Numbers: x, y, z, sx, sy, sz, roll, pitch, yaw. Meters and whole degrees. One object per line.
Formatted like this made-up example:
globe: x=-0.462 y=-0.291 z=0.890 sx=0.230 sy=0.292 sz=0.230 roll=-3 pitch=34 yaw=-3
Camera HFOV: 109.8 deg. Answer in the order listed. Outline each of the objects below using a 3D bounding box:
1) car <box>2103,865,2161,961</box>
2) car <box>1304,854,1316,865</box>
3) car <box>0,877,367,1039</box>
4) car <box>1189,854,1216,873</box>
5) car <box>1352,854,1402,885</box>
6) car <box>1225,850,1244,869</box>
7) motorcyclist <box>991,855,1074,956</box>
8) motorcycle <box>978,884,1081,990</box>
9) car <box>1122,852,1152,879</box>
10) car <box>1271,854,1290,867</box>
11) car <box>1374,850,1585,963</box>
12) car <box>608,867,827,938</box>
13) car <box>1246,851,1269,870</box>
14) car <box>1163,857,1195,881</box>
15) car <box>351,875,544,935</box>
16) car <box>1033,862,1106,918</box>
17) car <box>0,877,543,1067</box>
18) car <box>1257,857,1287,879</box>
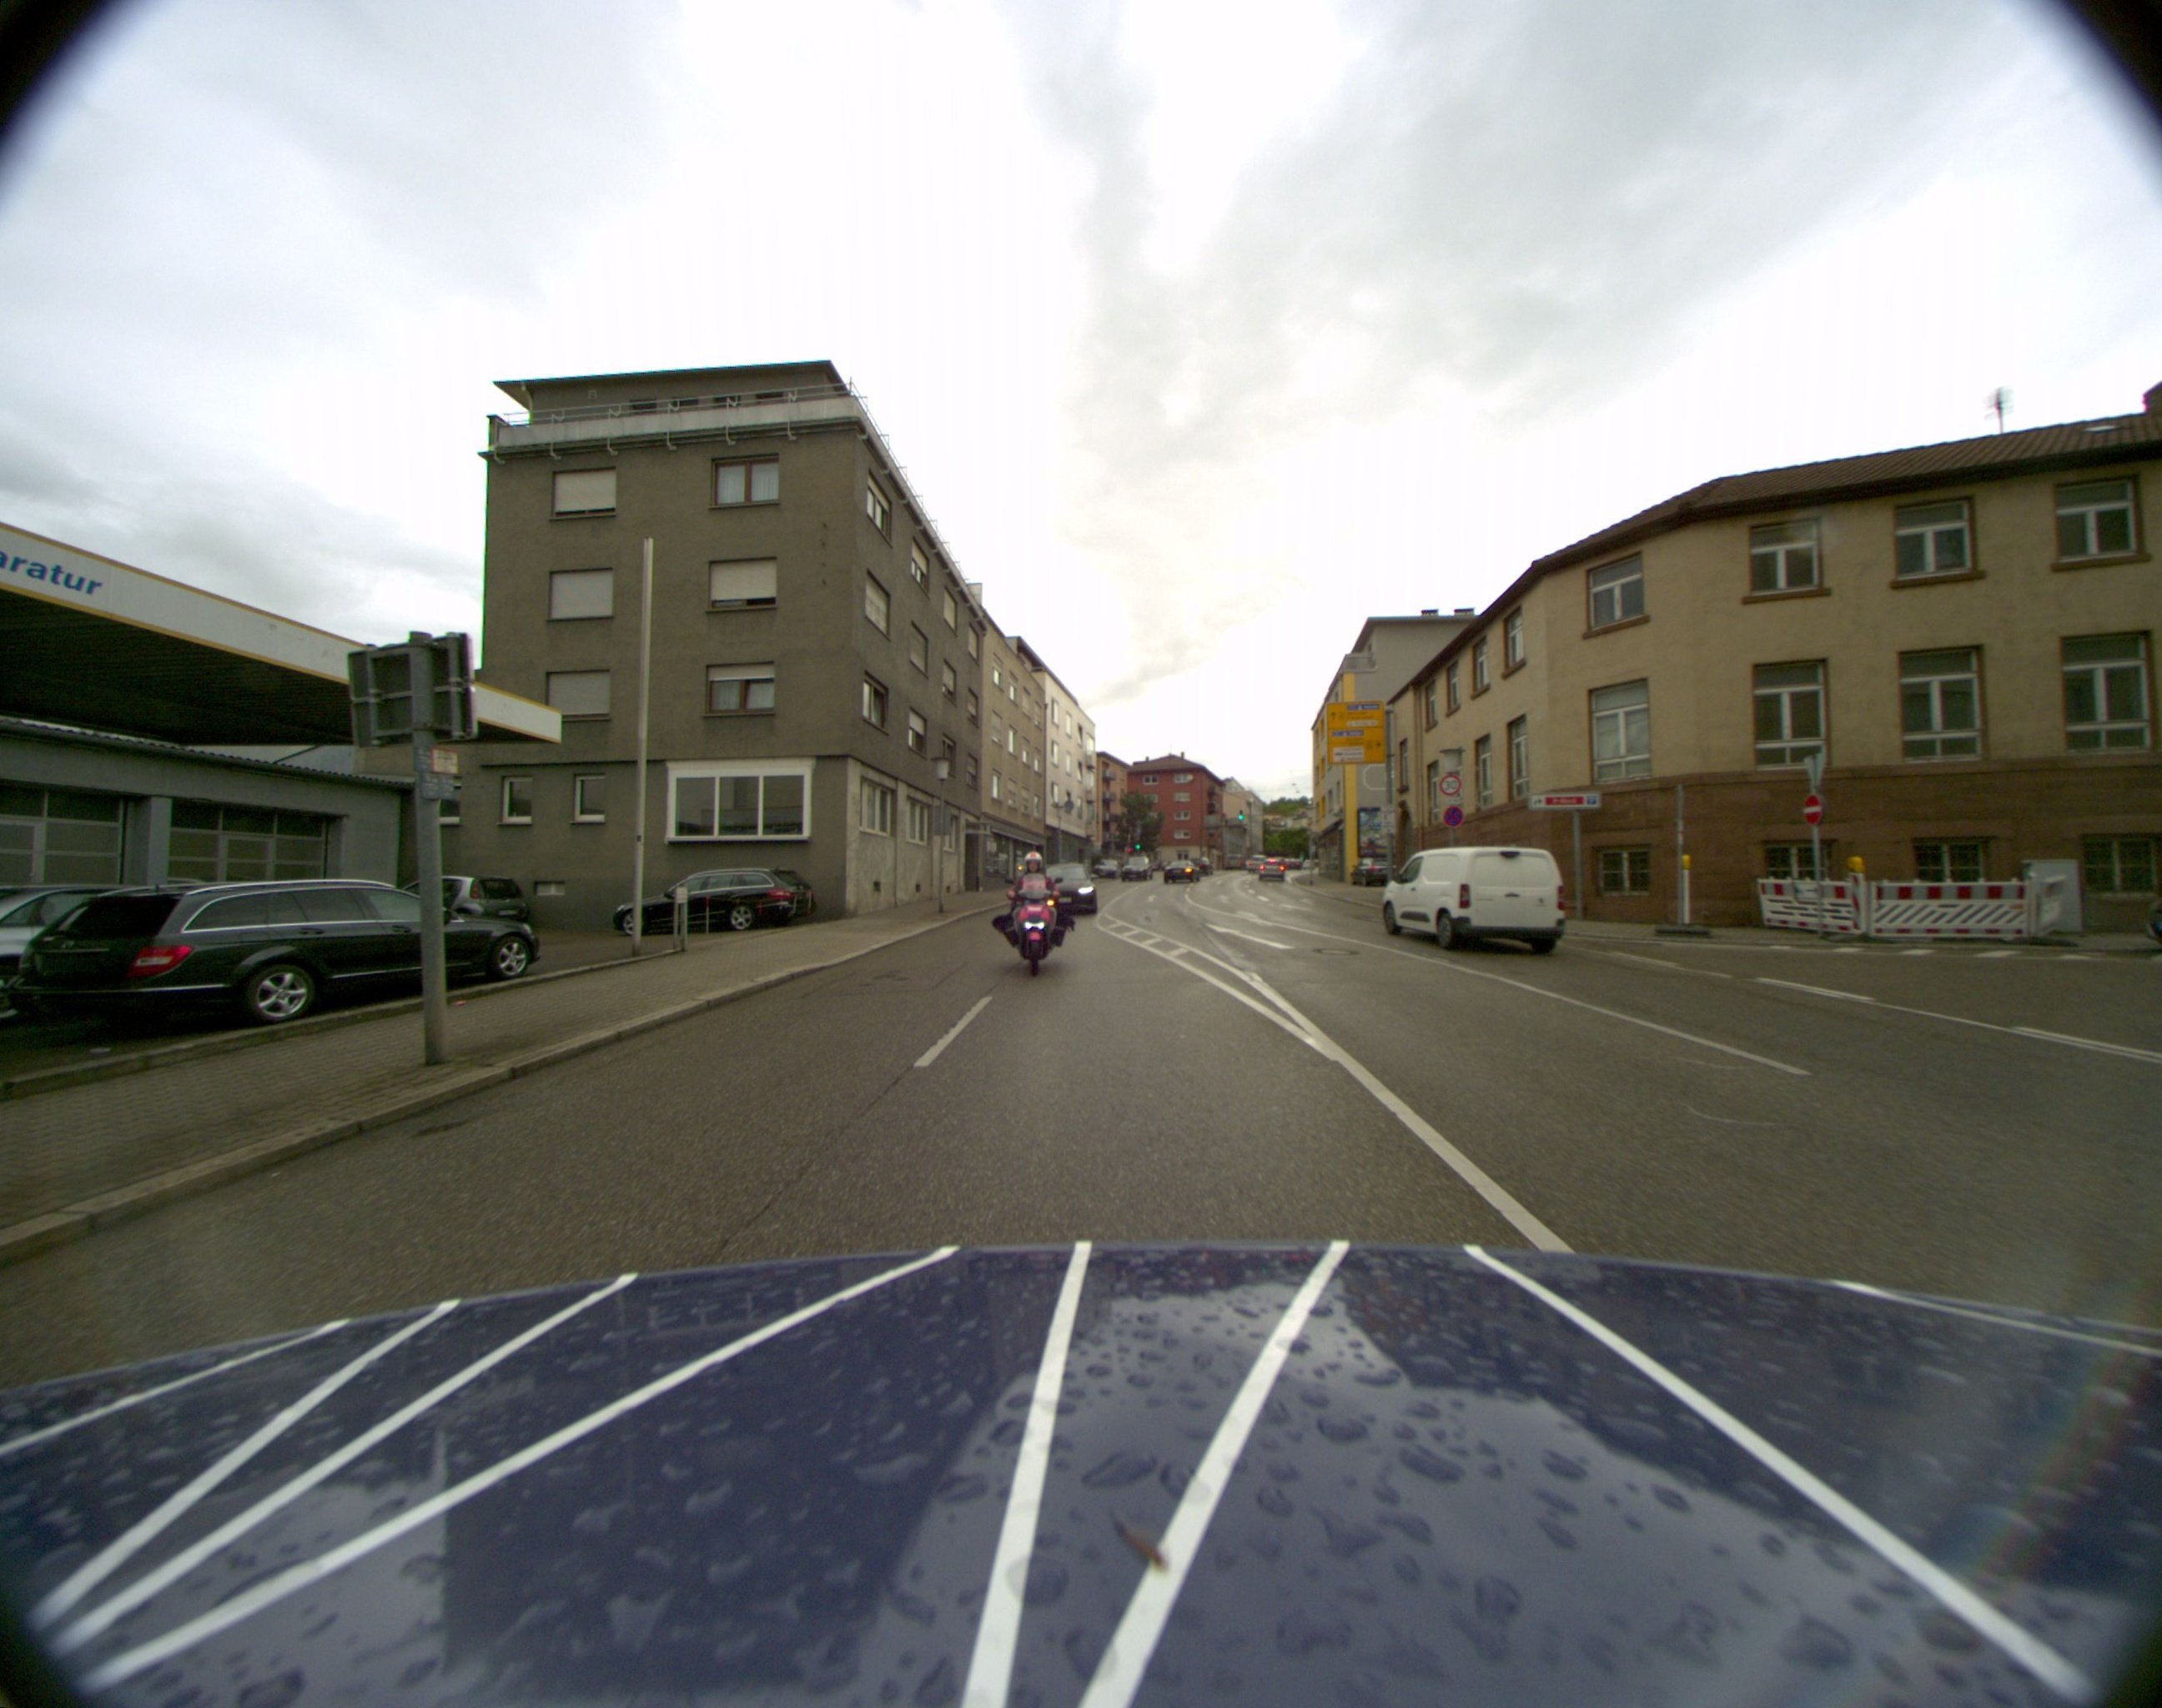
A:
car: x=18.217 y=0.841 z=10.953 sx=3.805 sy=1.457 sz=1.757 roll=-2 pitch=-3 yaw=17
car: x=38.203 y=0.919 z=126.916 sx=1.846 sy=1.892 sz=3.769 roll=0 pitch=0 yaw=15
car: x=-11.552 y=1.085 z=8.963 sx=1.792 sy=1.502 sz=4.421 roll=3 pitch=-1 yaw=5
car: x=10.002 y=0.736 z=62.178 sx=1.860 sy=1.445 sz=4.323 roll=0 pitch=0 yaw=13
car: x=15.591 y=0.807 z=40.211 sx=1.860 sy=1.445 sz=3.967 roll=-3 pitch=-1 yaw=13
car: x=16.125 y=0.539 z=79.764 sx=1.846 sy=1.892 sz=3.769 roll=0 pitch=0 yaw=13
motorcyclist: x=-0.690 y=0.733 z=11.120 sx=1.010 sy=1.373 sz=0.835 roll=-3 pitch=0 yaw=6
motorcycle: x=-0.671 y=1.127 z=11.156 sx=1.010 sy=1.218 sz=2.695 roll=-3 pitch=0 yaw=6
car: x=4.105 y=0.814 z=55.072 sx=1.847 sy=1.892 sz=3.768 roll=-1 pitch=0 yaw=9
car: x=23.497 y=0.760 z=89.544 sx=1.860 sy=1.445 sz=4.322 roll=0 pitch=0 yaw=11
car: x=7.223 y=0.836 z=14.352 sx=1.866 sy=1.793 sz=4.266 roll=1 pitch=0 yaw=2
car: x=-8.993 y=1.181 z=19.025 sx=4.530 sy=1.495 sz=2.001 roll=-2 pitch=0 yaw=8
car: x=16.444 y=0.580 z=70.885 sx=1.860 sy=1.688 sz=4.322 roll=0 pitch=0 yaw=11
car: x=6.138 y=0.897 z=47.279 sx=1.861 sy=1.445 sz=4.321 roll=0 pitch=0 yaw=9
car: x=-16.754 y=1.319 z=20.206 sx=3.750 sy=1.445 sz=1.796 roll=1 pitch=-2 yaw=6
car: x=-0.256 y=1.031 z=23.275 sx=1.705 sy=1.451 sz=4.320 roll=-3 pitch=0 yaw=5
car: x=-8.882 y=1.099 z=8.865 sx=1.792 sy=1.503 sz=4.439 roll=0 pitch=0 yaw=5
car: x=13.560 y=0.973 z=54.096 sx=1.860 sy=1.445 sz=4.322 roll=2 pitch=0 yaw=11
